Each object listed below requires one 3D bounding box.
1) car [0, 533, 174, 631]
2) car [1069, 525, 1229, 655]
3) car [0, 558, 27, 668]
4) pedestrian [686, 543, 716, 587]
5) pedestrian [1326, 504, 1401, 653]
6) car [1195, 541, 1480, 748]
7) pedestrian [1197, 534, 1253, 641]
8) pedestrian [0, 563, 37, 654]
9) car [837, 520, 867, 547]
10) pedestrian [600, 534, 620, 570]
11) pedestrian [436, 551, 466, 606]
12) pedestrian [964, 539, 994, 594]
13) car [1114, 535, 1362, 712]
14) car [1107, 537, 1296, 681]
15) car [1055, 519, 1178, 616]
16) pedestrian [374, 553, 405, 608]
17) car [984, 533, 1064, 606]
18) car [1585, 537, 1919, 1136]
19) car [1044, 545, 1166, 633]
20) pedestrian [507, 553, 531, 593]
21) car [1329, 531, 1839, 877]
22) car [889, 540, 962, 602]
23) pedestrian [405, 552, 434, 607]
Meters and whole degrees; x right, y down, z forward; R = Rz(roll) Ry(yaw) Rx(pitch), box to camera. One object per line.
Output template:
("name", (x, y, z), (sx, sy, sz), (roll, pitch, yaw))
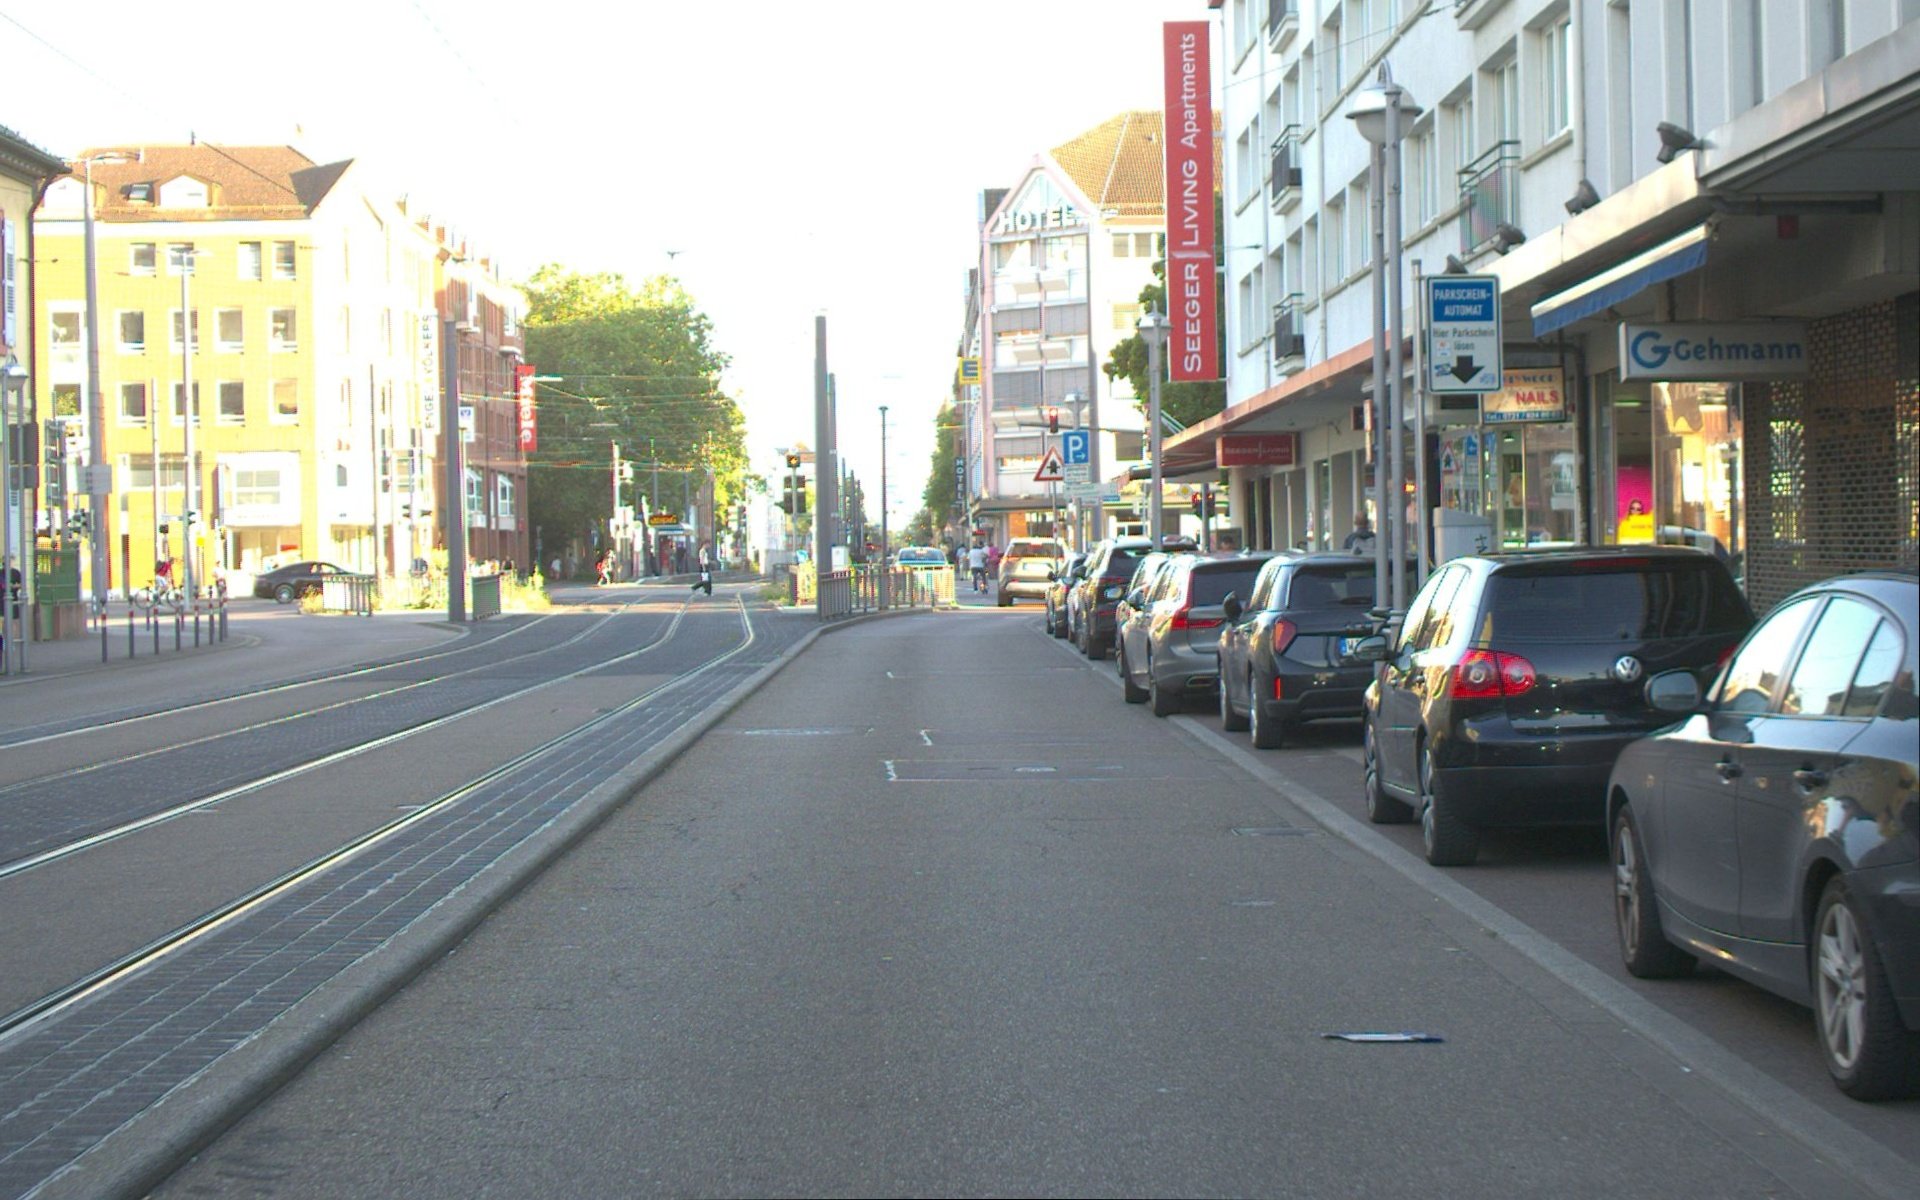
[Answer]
("car", (-19.172, -0.393, 74.499), (3.986, 2.007, 2.001), (-1, 1, -17))
("car", (2.559, -0.149, 47.492), (1.856, 1.695, 4.418), (1, 0, -1))
("car", (-13.946, 0.192, 46.264), (1.748, 1.469, 4.000), (1, 1, -1))
("pedestrian", (-8.277, -1.129, 109.931), (0.903, 1.370, 0.854), (-1, 1, -3))
("pedestrian", (5.144, -0.276, 43.902), (0.774, 1.874, 0.935), (-1, 0, -2))
("car", (2.864, 0.306, 26.859), (1.726, 1.476, 4.000), (1, 0, -1))
("pedestrian", (3.953, -0.193, 51.313), (0.733, 1.568, 0.967), (-1, 1, -1))
("pedestrian", (-16.299, 0.133, 58.718), (0.799, 1.536, 0.877), (1, 0, 2))
("car", (-7.826, -4.852, 249.721), (1.993, 1.894, 4.000), (1, 0, 0))
("pedestrian", (-16.423, -2.237, 161.289), (0.805, 1.658, 0.703), (1, 0, 4))
("pedestrian", (-12.950, -0.550, 87.518), (0.663, 1.370, 0.652), (-1, 1, -3))
("pedestrian", (0.601, -1.058, 107.649), (0.874, 1.700, 0.700), (1, 0, 2))
("car", (2.535, 0.184, 32.446), (1.791, 1.528, 4.857), (1, 0, -2))
("car", (2.691, 0.055, 39.150), (1.781, 1.517, 4.357), (1, 1, 0))
("car", (2.391, -0.503, 53.243), (1.651, 1.416, 4.191), (1, 0, -1))
("pedestrian", (-14.441, -0.504, 87.053), (0.663, 1.370, 0.652), (-1, 1, -3))
("car", (1.534, -0.721, 83.607), (1.835, 1.630, 4.090), (-2, -1, 1))
("car", (3.113, 0.571, 10.387), (1.654, 1.458, 4.023), (1, 0, -1))
("car", (2.435, -0.199, 58.847), (1.790, 1.408, 4.688), (1, 0, -1))
("pedestrian", (-22.244, -1.381, 173.375), (1.093, 2.007, 1.163), (1, 0, -3))
("car", (2.988, 0.445, 17.284), (1.765, 1.508, 4.072), (1, 0, -1))
("car", (-1.026, -0.856, 102.316), (1.993, 1.590, 4.000), (-5, -1, 0))
("pedestrian", (-13.707, -0.516, 87.241), (0.663, 1.370, 0.652), (0, 1, -3))
